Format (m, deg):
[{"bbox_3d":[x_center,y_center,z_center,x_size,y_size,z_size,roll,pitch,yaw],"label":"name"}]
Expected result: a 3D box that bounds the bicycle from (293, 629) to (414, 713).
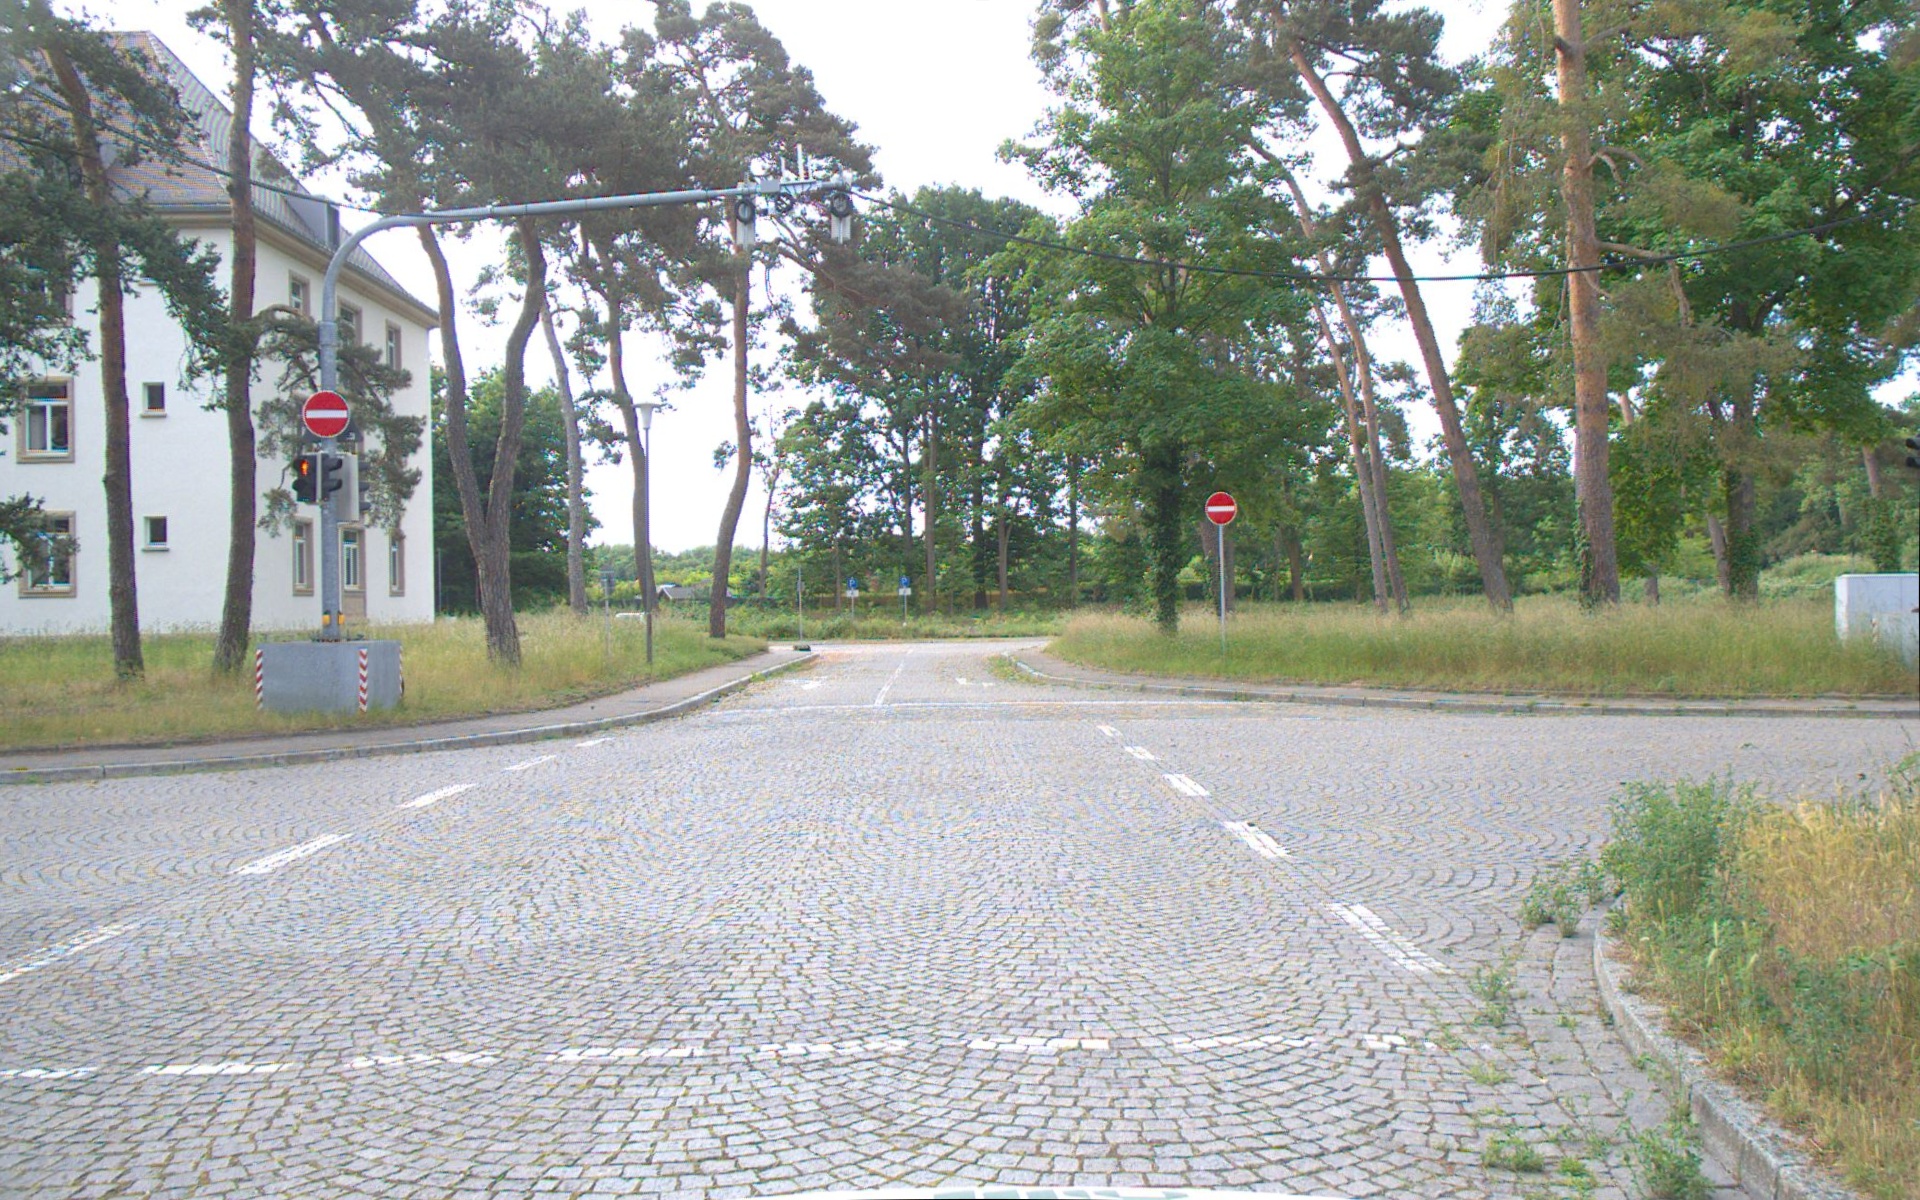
[{"bbox_3d":[-8.359,0.978,22.830,1.435,1.084,0.516,-2,1,-3],"label":"bicycle"}]
